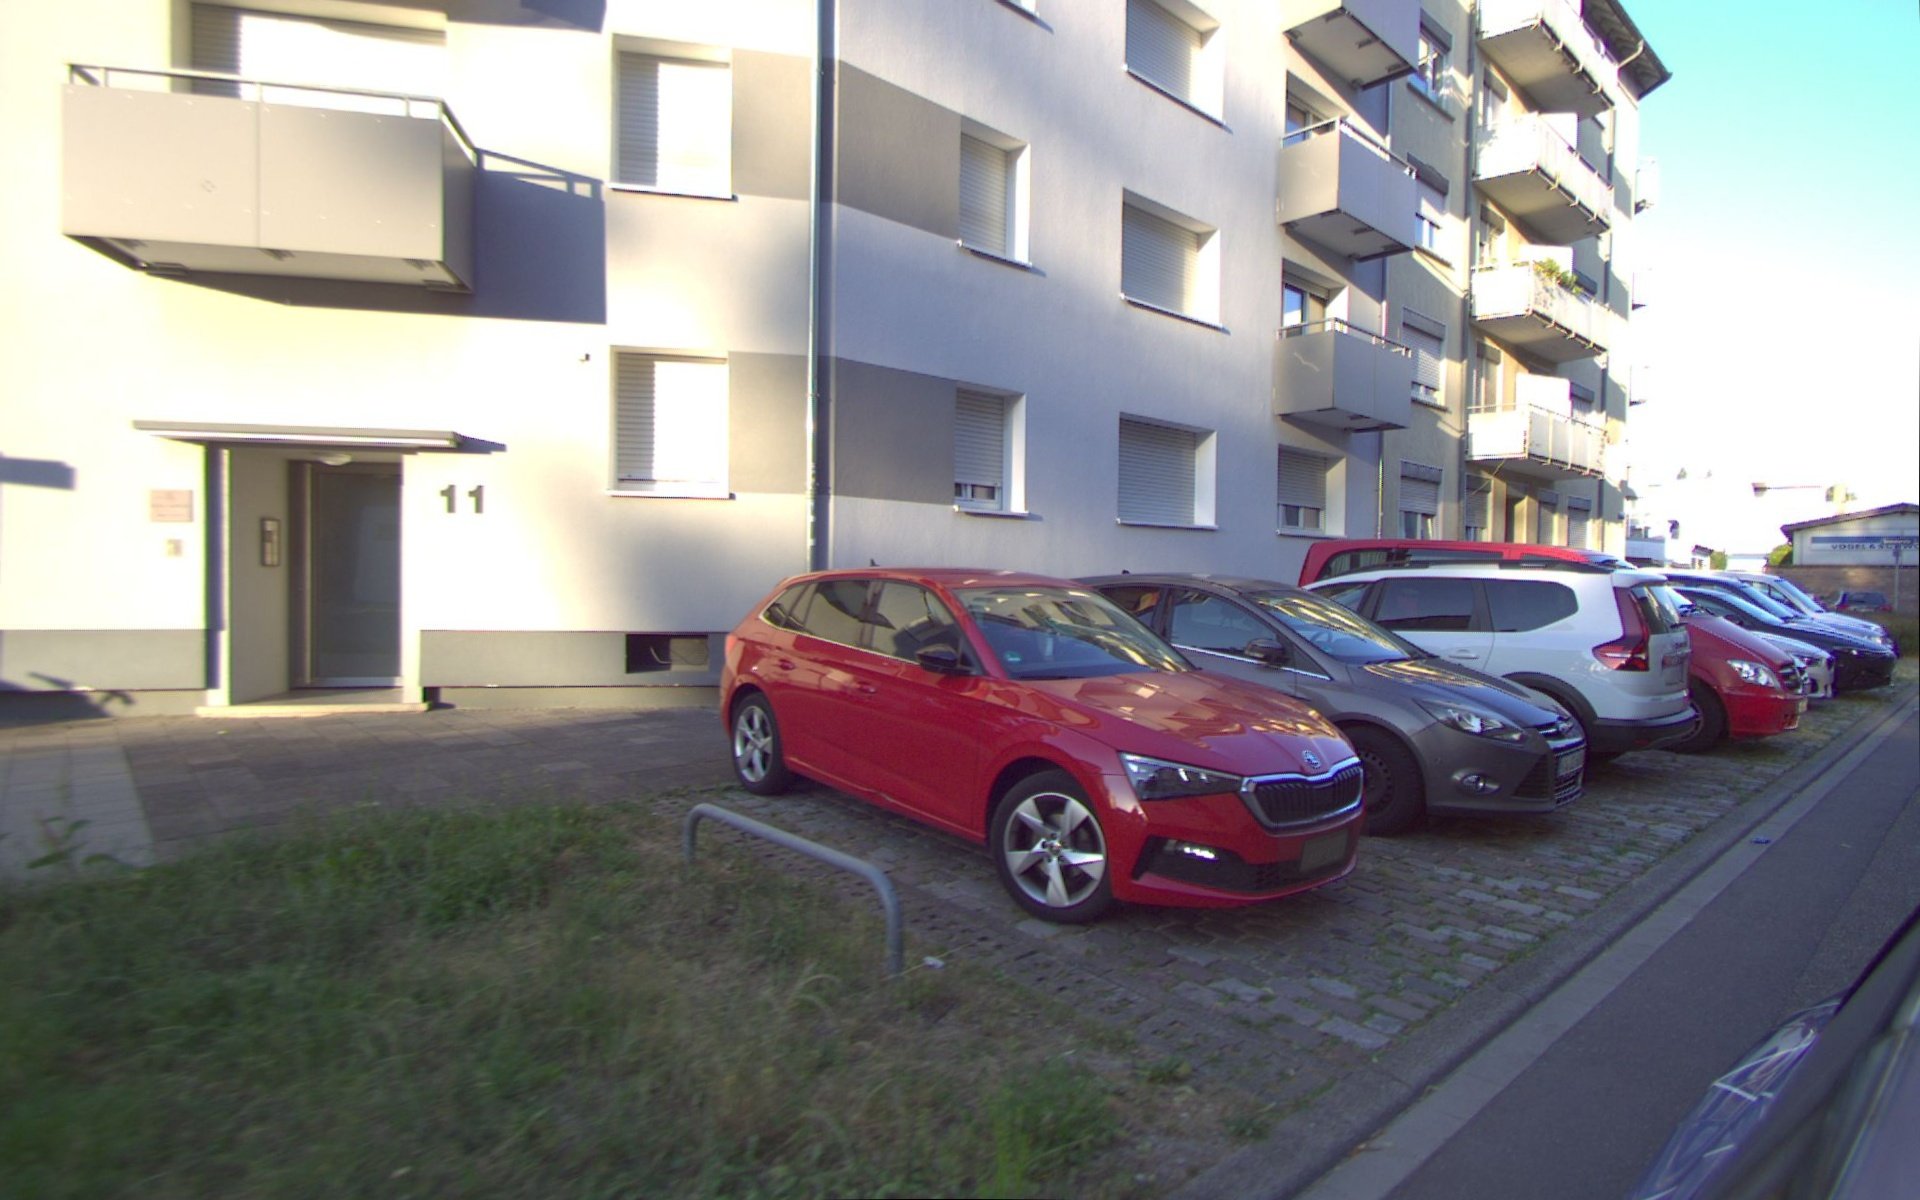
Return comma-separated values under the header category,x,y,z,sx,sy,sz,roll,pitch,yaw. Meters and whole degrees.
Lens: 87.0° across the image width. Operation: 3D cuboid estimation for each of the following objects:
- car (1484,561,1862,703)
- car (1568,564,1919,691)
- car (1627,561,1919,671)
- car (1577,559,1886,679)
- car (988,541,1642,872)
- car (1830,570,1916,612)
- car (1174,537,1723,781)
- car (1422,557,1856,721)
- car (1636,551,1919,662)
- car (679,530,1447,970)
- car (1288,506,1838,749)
category,x,y,z,sx,sy,sz,roll,pitch,yaw
car,9.907,0.314,14.301,1.965,1.704,3.995,-1,2,-40
car,12.027,0.293,15.719,1.964,1.704,3.997,-1,2,-39
car,15.086,0.194,18.920,1.965,1.816,3.994,-1,2,-41
car,13.387,0.222,17.742,1.965,1.860,3.994,-1,2,-41
car,2.295,0.470,7.264,1.967,1.682,3.991,-1,2,-44
car,35.352,-0.386,39.299,1.988,1.508,4.375,1,2,36
car,4.063,0.330,8.883,1.756,1.649,3.990,-1,2,-44
car,8.124,0.323,12.454,1.962,1.660,4.001,-1,2,-35
car,16.613,0.039,20.552,1.964,1.992,4.428,-1,2,-39
car,0.203,0.457,5.838,1.890,1.560,4.309,-1,2,-40
car,6.150,0.149,10.836,1.965,2.024,4.682,-1,2,-41
